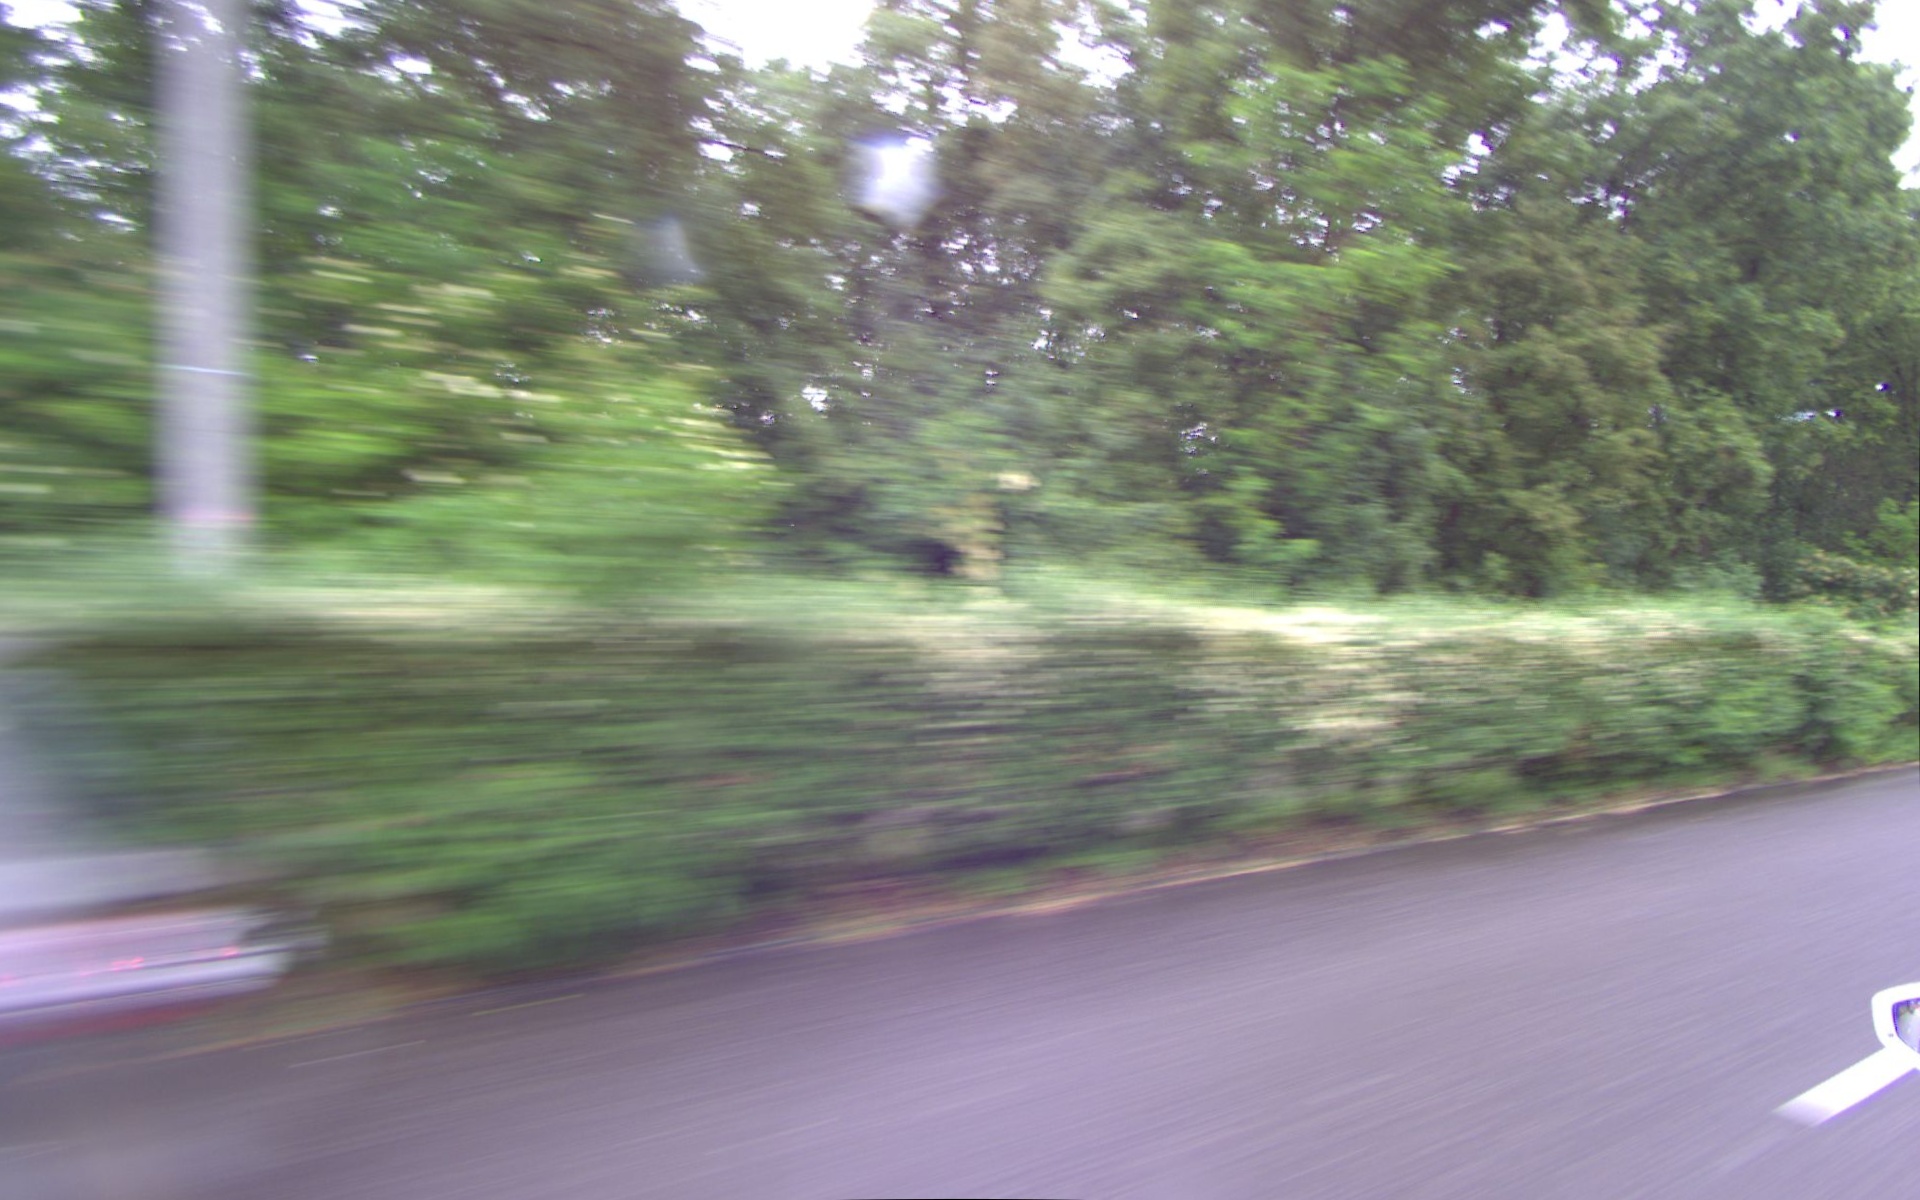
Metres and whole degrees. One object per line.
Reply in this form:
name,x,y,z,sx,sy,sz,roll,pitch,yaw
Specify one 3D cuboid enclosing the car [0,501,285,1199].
car,-3.235,0.643,1.170,3.954,1.511,1.721,0,-2,-31
